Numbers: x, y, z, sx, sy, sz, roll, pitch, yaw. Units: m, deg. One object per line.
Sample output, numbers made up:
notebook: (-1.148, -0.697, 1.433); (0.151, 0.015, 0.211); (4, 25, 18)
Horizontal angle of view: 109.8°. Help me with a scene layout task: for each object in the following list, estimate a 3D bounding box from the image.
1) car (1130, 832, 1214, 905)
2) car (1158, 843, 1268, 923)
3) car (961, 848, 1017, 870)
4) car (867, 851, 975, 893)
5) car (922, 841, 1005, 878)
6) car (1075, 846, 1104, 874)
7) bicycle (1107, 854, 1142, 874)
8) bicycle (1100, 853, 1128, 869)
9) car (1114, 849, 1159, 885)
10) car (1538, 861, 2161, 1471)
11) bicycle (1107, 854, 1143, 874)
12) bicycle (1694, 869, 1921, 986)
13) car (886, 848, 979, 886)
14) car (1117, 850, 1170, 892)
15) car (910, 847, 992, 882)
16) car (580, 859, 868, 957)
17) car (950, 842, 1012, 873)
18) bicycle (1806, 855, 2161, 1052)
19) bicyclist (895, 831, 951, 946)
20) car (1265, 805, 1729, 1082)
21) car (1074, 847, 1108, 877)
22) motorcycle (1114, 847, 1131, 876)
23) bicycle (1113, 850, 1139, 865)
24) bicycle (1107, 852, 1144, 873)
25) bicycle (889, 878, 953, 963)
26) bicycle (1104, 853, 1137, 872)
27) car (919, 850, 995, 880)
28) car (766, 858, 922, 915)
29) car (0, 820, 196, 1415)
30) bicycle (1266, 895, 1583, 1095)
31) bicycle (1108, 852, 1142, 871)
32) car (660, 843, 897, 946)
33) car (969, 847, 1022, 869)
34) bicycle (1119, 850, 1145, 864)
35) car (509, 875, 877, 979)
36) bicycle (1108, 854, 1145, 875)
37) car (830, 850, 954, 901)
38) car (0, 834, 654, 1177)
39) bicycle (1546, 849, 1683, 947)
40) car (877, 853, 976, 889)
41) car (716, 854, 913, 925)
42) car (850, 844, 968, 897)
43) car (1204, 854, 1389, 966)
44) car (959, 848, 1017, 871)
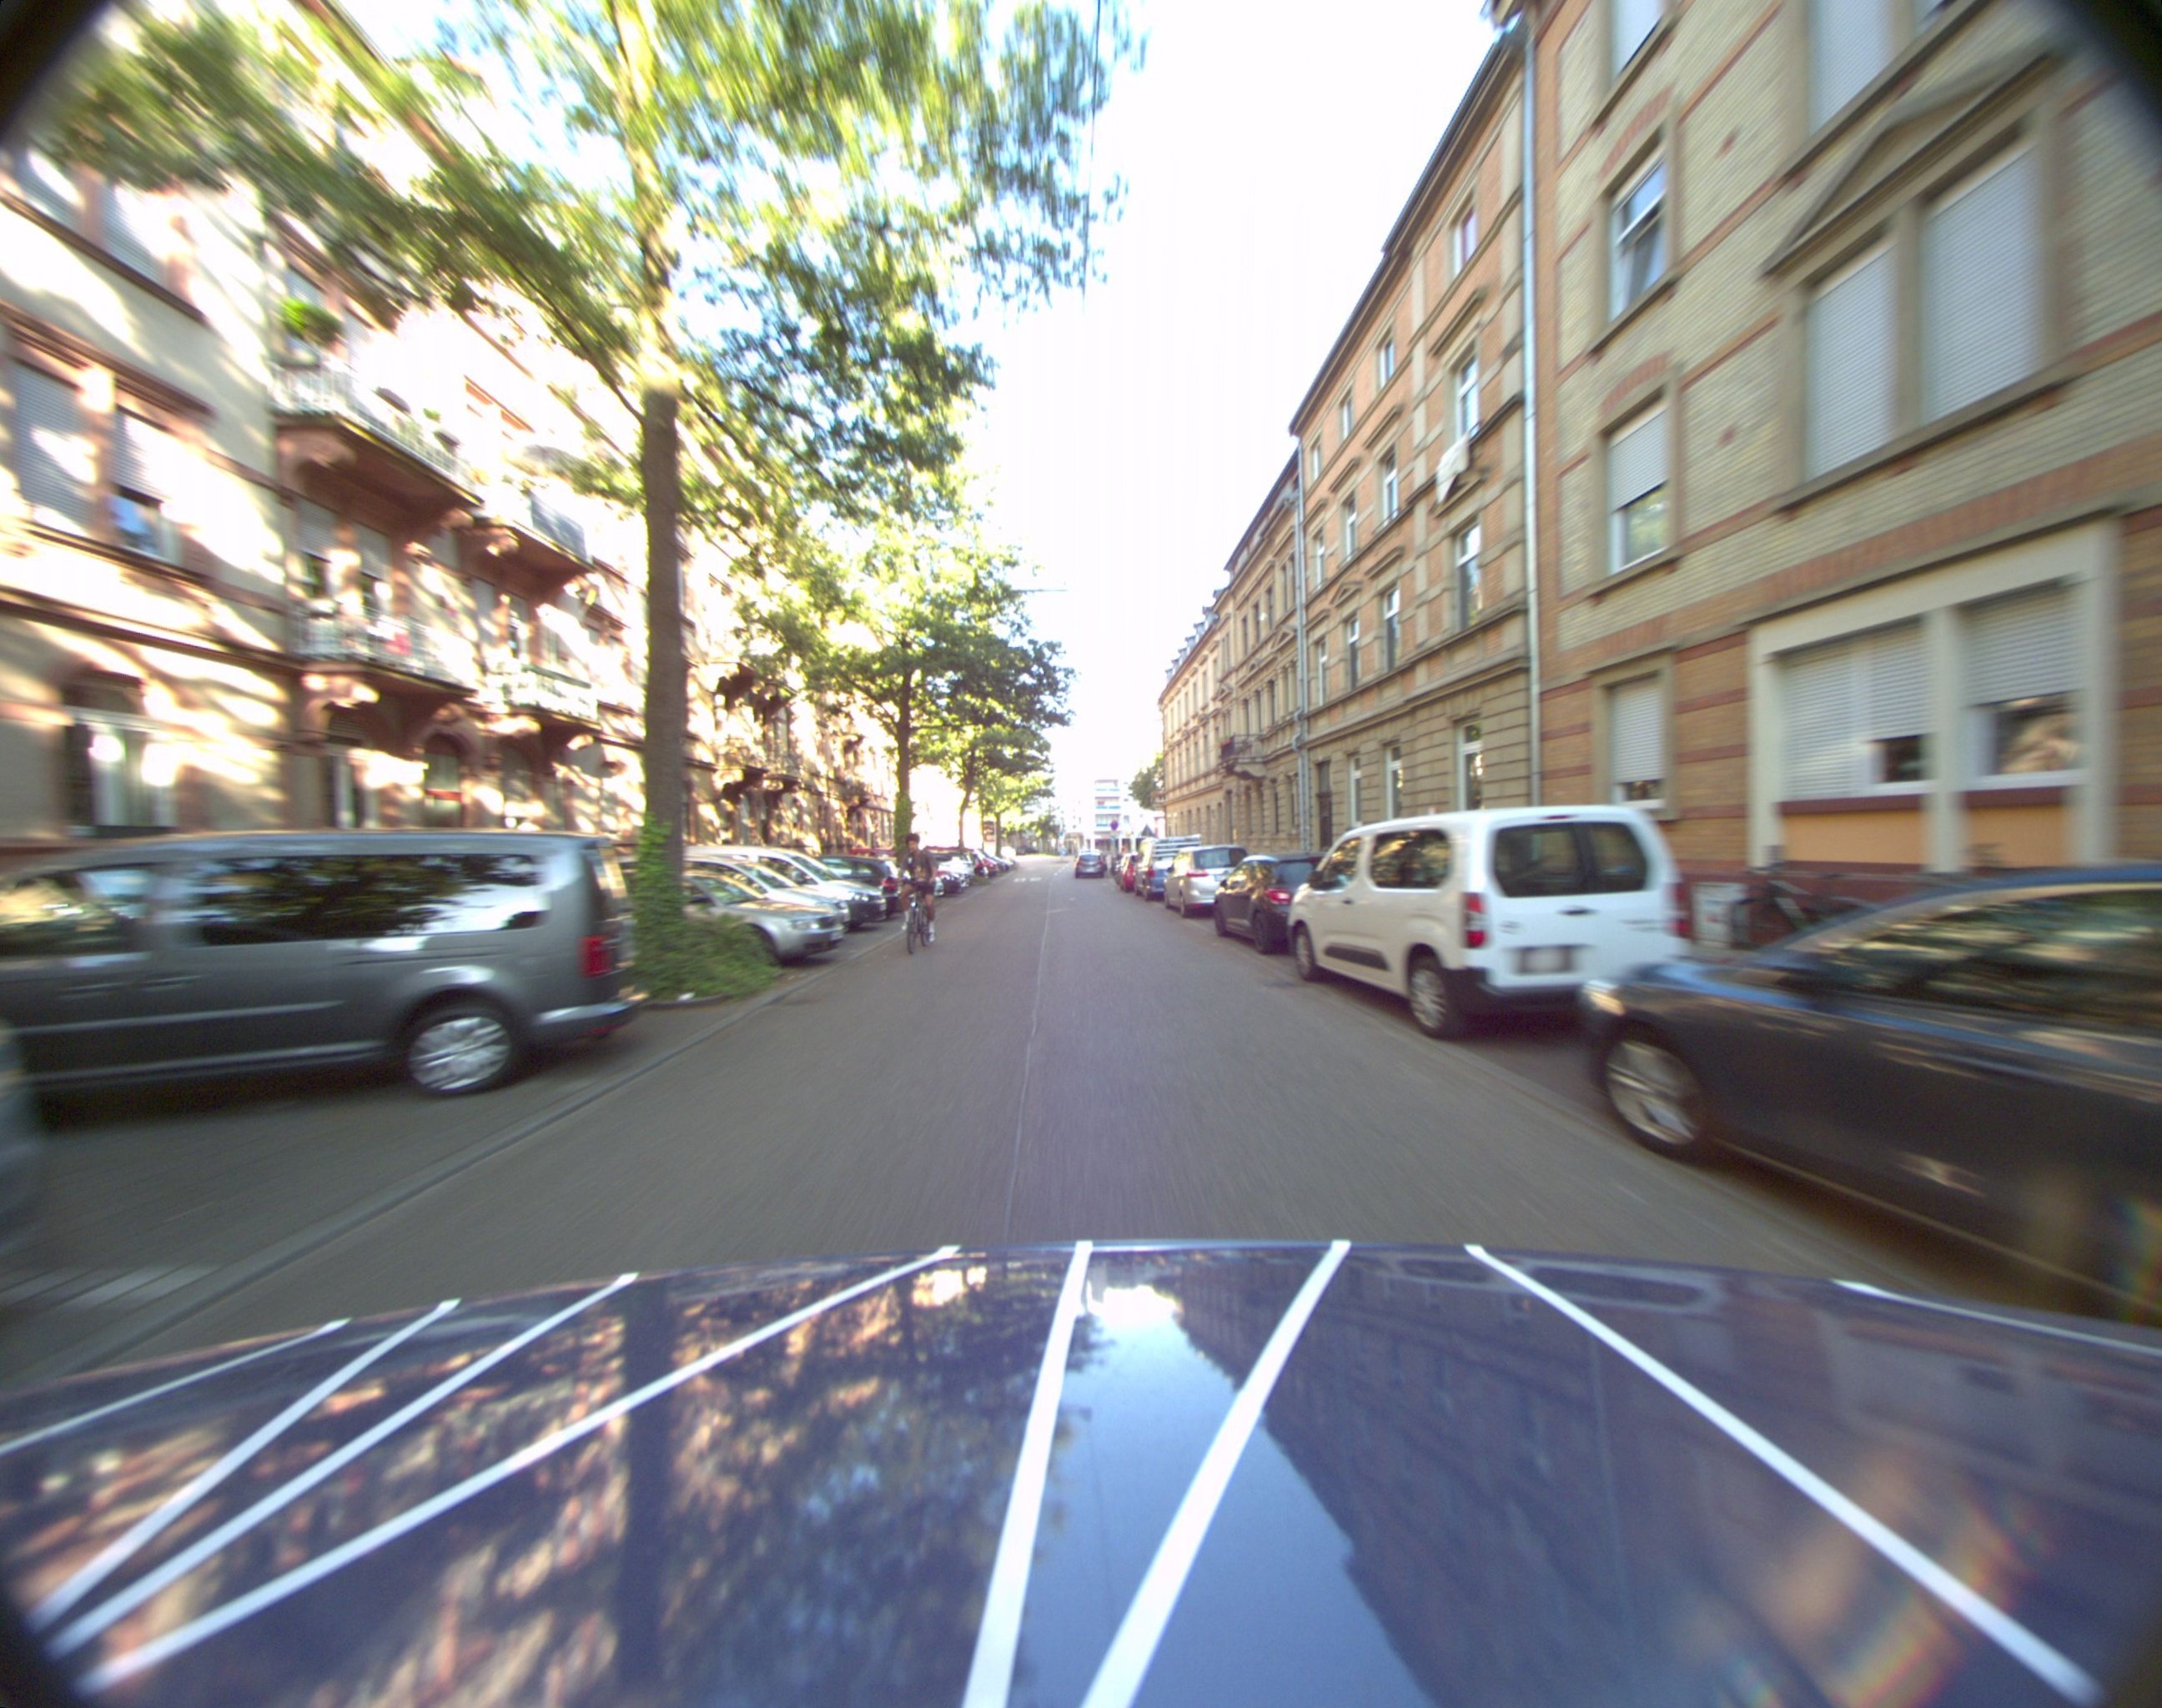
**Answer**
car: (2.840, 0.409, 24.823); (1.947, 2.045, 4.743); (-3, 1, -2)
car: (3.061, 0.606, 18.526); (1.771, 1.648, 4.156); (-3, 1, -2)
car: (-7.039, 0.361, 58.652); (4.057, 1.521, 1.780); (3, 1, -1)
car: (-6.565, 0.723, 31.443); (4.057, 1.571, 1.781); (1, 1, 0)
car: (-7.101, 0.309, 46.202); (4.700, 1.966, 1.925); (3, 1, -1)
car: (0.515, 0.367, 49.781); (1.745, 1.630, 3.824); (-3, 1, 0)
bicycle: (2.611, 0.601, 45.799); (2.043, 1.092, 0.587); (-3, 1, 0)
bicycle: (2.500, 0.520, 56.978); (2.043, 1.092, 0.499); (-3, 1, 0)
car: (2.497, 0.553, 34.911); (1.641, 1.482, 3.824); (-3, 1, -2)
car: (3.613, 0.821, 2.299); (1.751, 1.464, 4.243); (-2, 1, -2)
bicycle: (2.606, 0.601, 45.143); (2.043, 1.092, 0.499); (-3, 1, 0)
bicycle: (7.560, 0.703, 8.050); (0.495, 1.017, 1.908); (-3, 1, -3)
car: (-7.038, 0.599, 36.296); (4.057, 1.612, 1.780); (3, 1, -1)
car: (2.420, 0.608, 30.343); (1.641, 1.482, 3.824); (-3, 1, -2)
car: (-6.939, 0.547, 40.963); (4.057, 1.612, 1.780); (3, 1, -1)
car: (-6.179, 0.895, 13.597); (4.244, 1.594, 1.902); (0, 1, -4)
car: (-7.022, 0.226, 53.613); (4.057, 1.922, 1.780); (3, 1, -1)
bicycle: (7.376, 0.666, 5.916); (0.630, 1.273, 2.667); (-2, 1, -9)
bicyclist: (-2.686, 0.555, 12.998); (0.712, 1.865, 1.120); (-1, 1, -2)
car: (3.446, 0.592, 7.542); (1.847, 1.823, 4.605); (-3, 1, -3)
car: (0.550, 0.432, 44.849); (1.868, 1.620, 3.824); (-3, 1, 0)
motorcycle: (2.249, 0.380, 41.059); (0.624, 1.482, 2.488); (-3, 1, -2)
bicycle: (3.671, 0.282, 61.542); (2.042, 1.092, 0.500); (-3, 1, 7)
bicycle: (2.604, 0.491, 44.538); (2.043, 1.092, 0.587); (-3, 1, 0)
bicycle: (-2.687, 1.080, 12.960); (0.712, 1.253, 1.887); (-1, 1, -2)
bicycle: (2.587, 0.555, 49.835); (2.043, 1.092, 0.499); (-3, 1, 0)
car: (-7.063, 0.611, 43.596); (4.057, 1.447, 1.780); (3, 1, -1)
car: (-6.532, 0.884, 21.272); (3.845, 1.452, 1.738); (1, 1, -3)
car: (-5.836, 0.810, 1.667); (4.934, 1.890, 2.175); (1, 1, -5)
bicycle: (2.452, 0.997, 5.537); (2.043, 1.272, 0.499); (-3, 1, 0)
bicycle: (2.793, 0.447, 48.266); (2.043, 1.092, 0.499); (-3, 1, 0)
car: (-6.309, 0.809, 16.232); (4.242, 1.875, 1.782); (-3, 1, -1)
car: (-6.831, 0.295, 61.055); (4.057, 1.521, 1.780); (3, 1, -1)
bicycle: (4.293, 0.239, 63.979); (2.042, 1.092, 0.500); (-3, 1, 8)
car: (-5.526, 1.019, 11.278); (4.469, 1.360, 1.902); (0, 1, 0)
bicycle: (2.641, 0.611, 43.893); (2.043, 1.092, 0.587); (-3, 1, 0)
car: (-6.542, 0.724, 26.562); (3.844, 1.673, 1.738); (1, 1, 0)
car: (-5.763, 0.828, 5.264); (4.684, 1.879, 1.904); (-1, 0, -23)
bicycle: (7.519, 0.570, 10.825); (0.495, 1.250, 1.908); (-3, 1, -3)
car: (-6.856, 0.746, 34.014); (4.057, 1.473, 1.781); (1, 1, 0)
car: (-6.426, 0.835, 18.703); (4.244, 1.579, 1.738); (1, 1, -3)
car: (-6.494, 0.595, 29.012); (4.057, 1.876, 1.781); (1, 1, 0)
car: (3.252, 0.757, 12.250); (1.641, 1.413, 3.823); (-3, 1, -3)
car: (-6.872, 0.379, 56.502); (4.057, 1.521, 1.780); (3, 1, -1)
